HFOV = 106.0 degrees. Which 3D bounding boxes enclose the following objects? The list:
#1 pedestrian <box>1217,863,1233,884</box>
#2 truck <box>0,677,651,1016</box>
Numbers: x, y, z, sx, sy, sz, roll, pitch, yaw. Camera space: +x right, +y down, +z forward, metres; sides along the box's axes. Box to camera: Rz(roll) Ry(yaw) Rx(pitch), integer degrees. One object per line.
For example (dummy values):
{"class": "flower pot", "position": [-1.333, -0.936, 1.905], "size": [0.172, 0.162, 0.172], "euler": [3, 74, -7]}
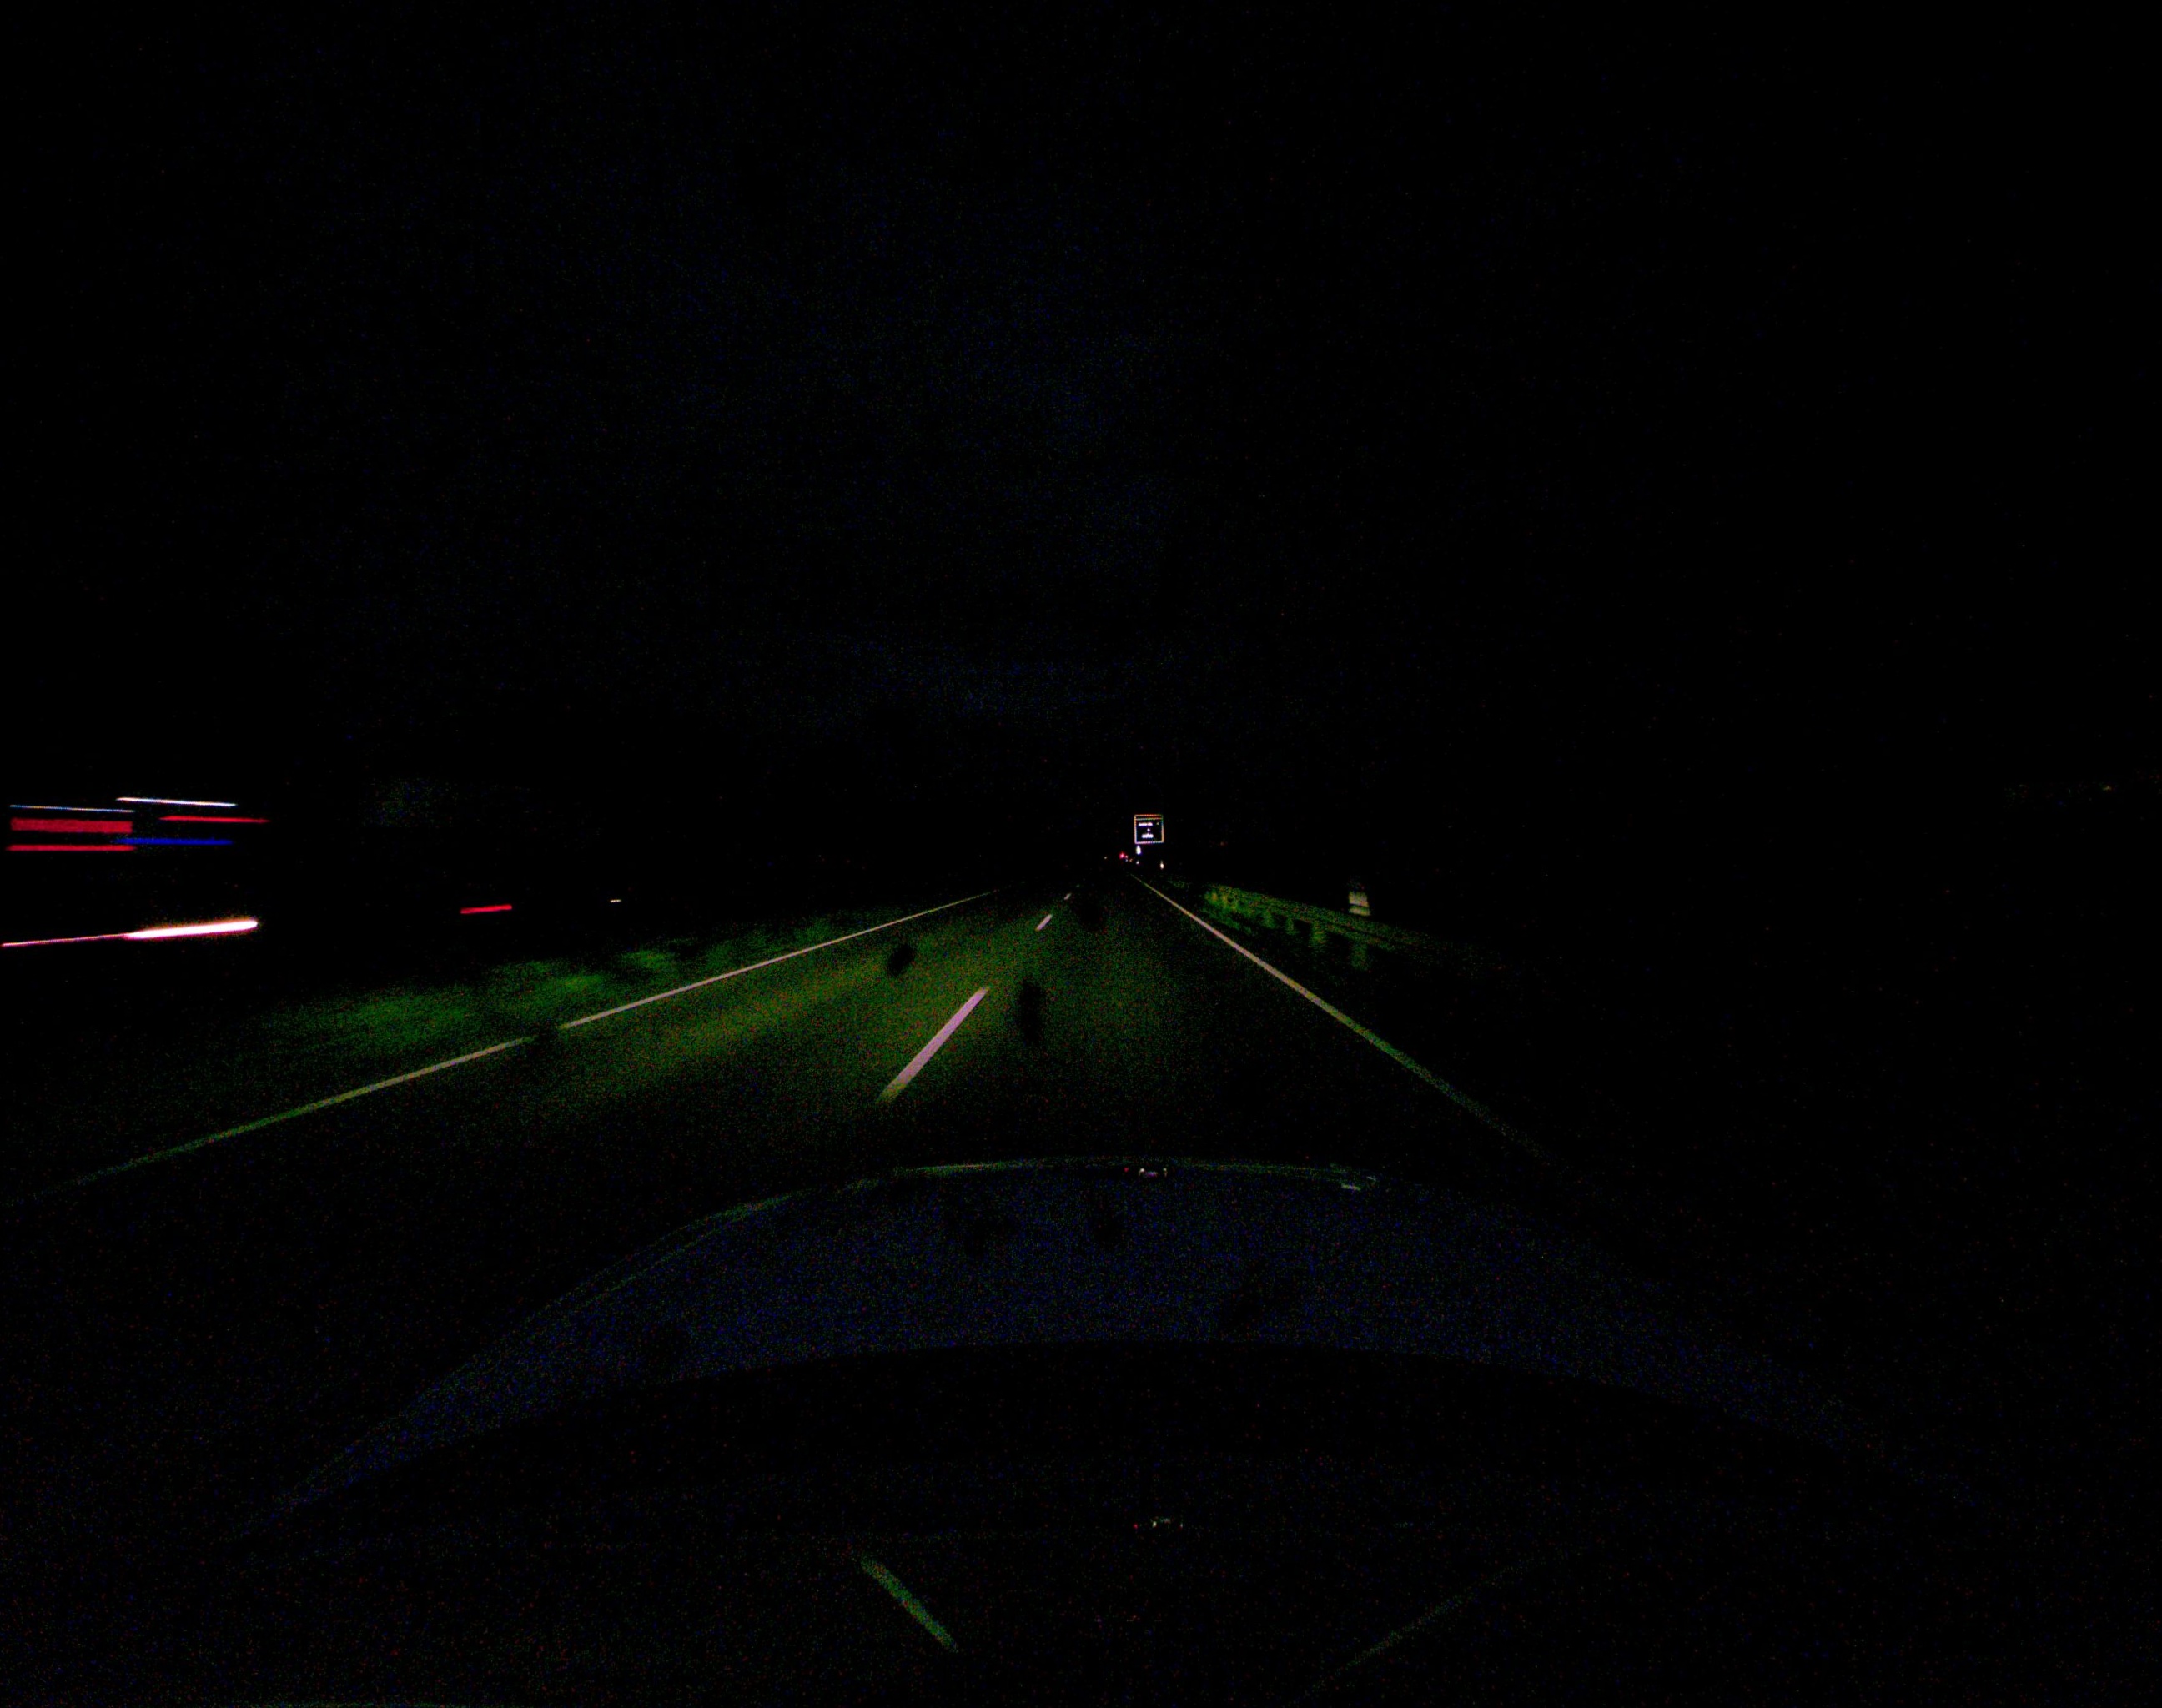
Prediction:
{"class": "pedestrian", "position": [11.599, 1.573, 65.554], "size": [1.058, 1.643, 1.119], "euler": [0, -1, 2]}
{"class": "truck", "position": [-15.100, -0.066, 18.995], "size": [3.191, 5.256, 12.612], "euler": [0, -1, 1]}
